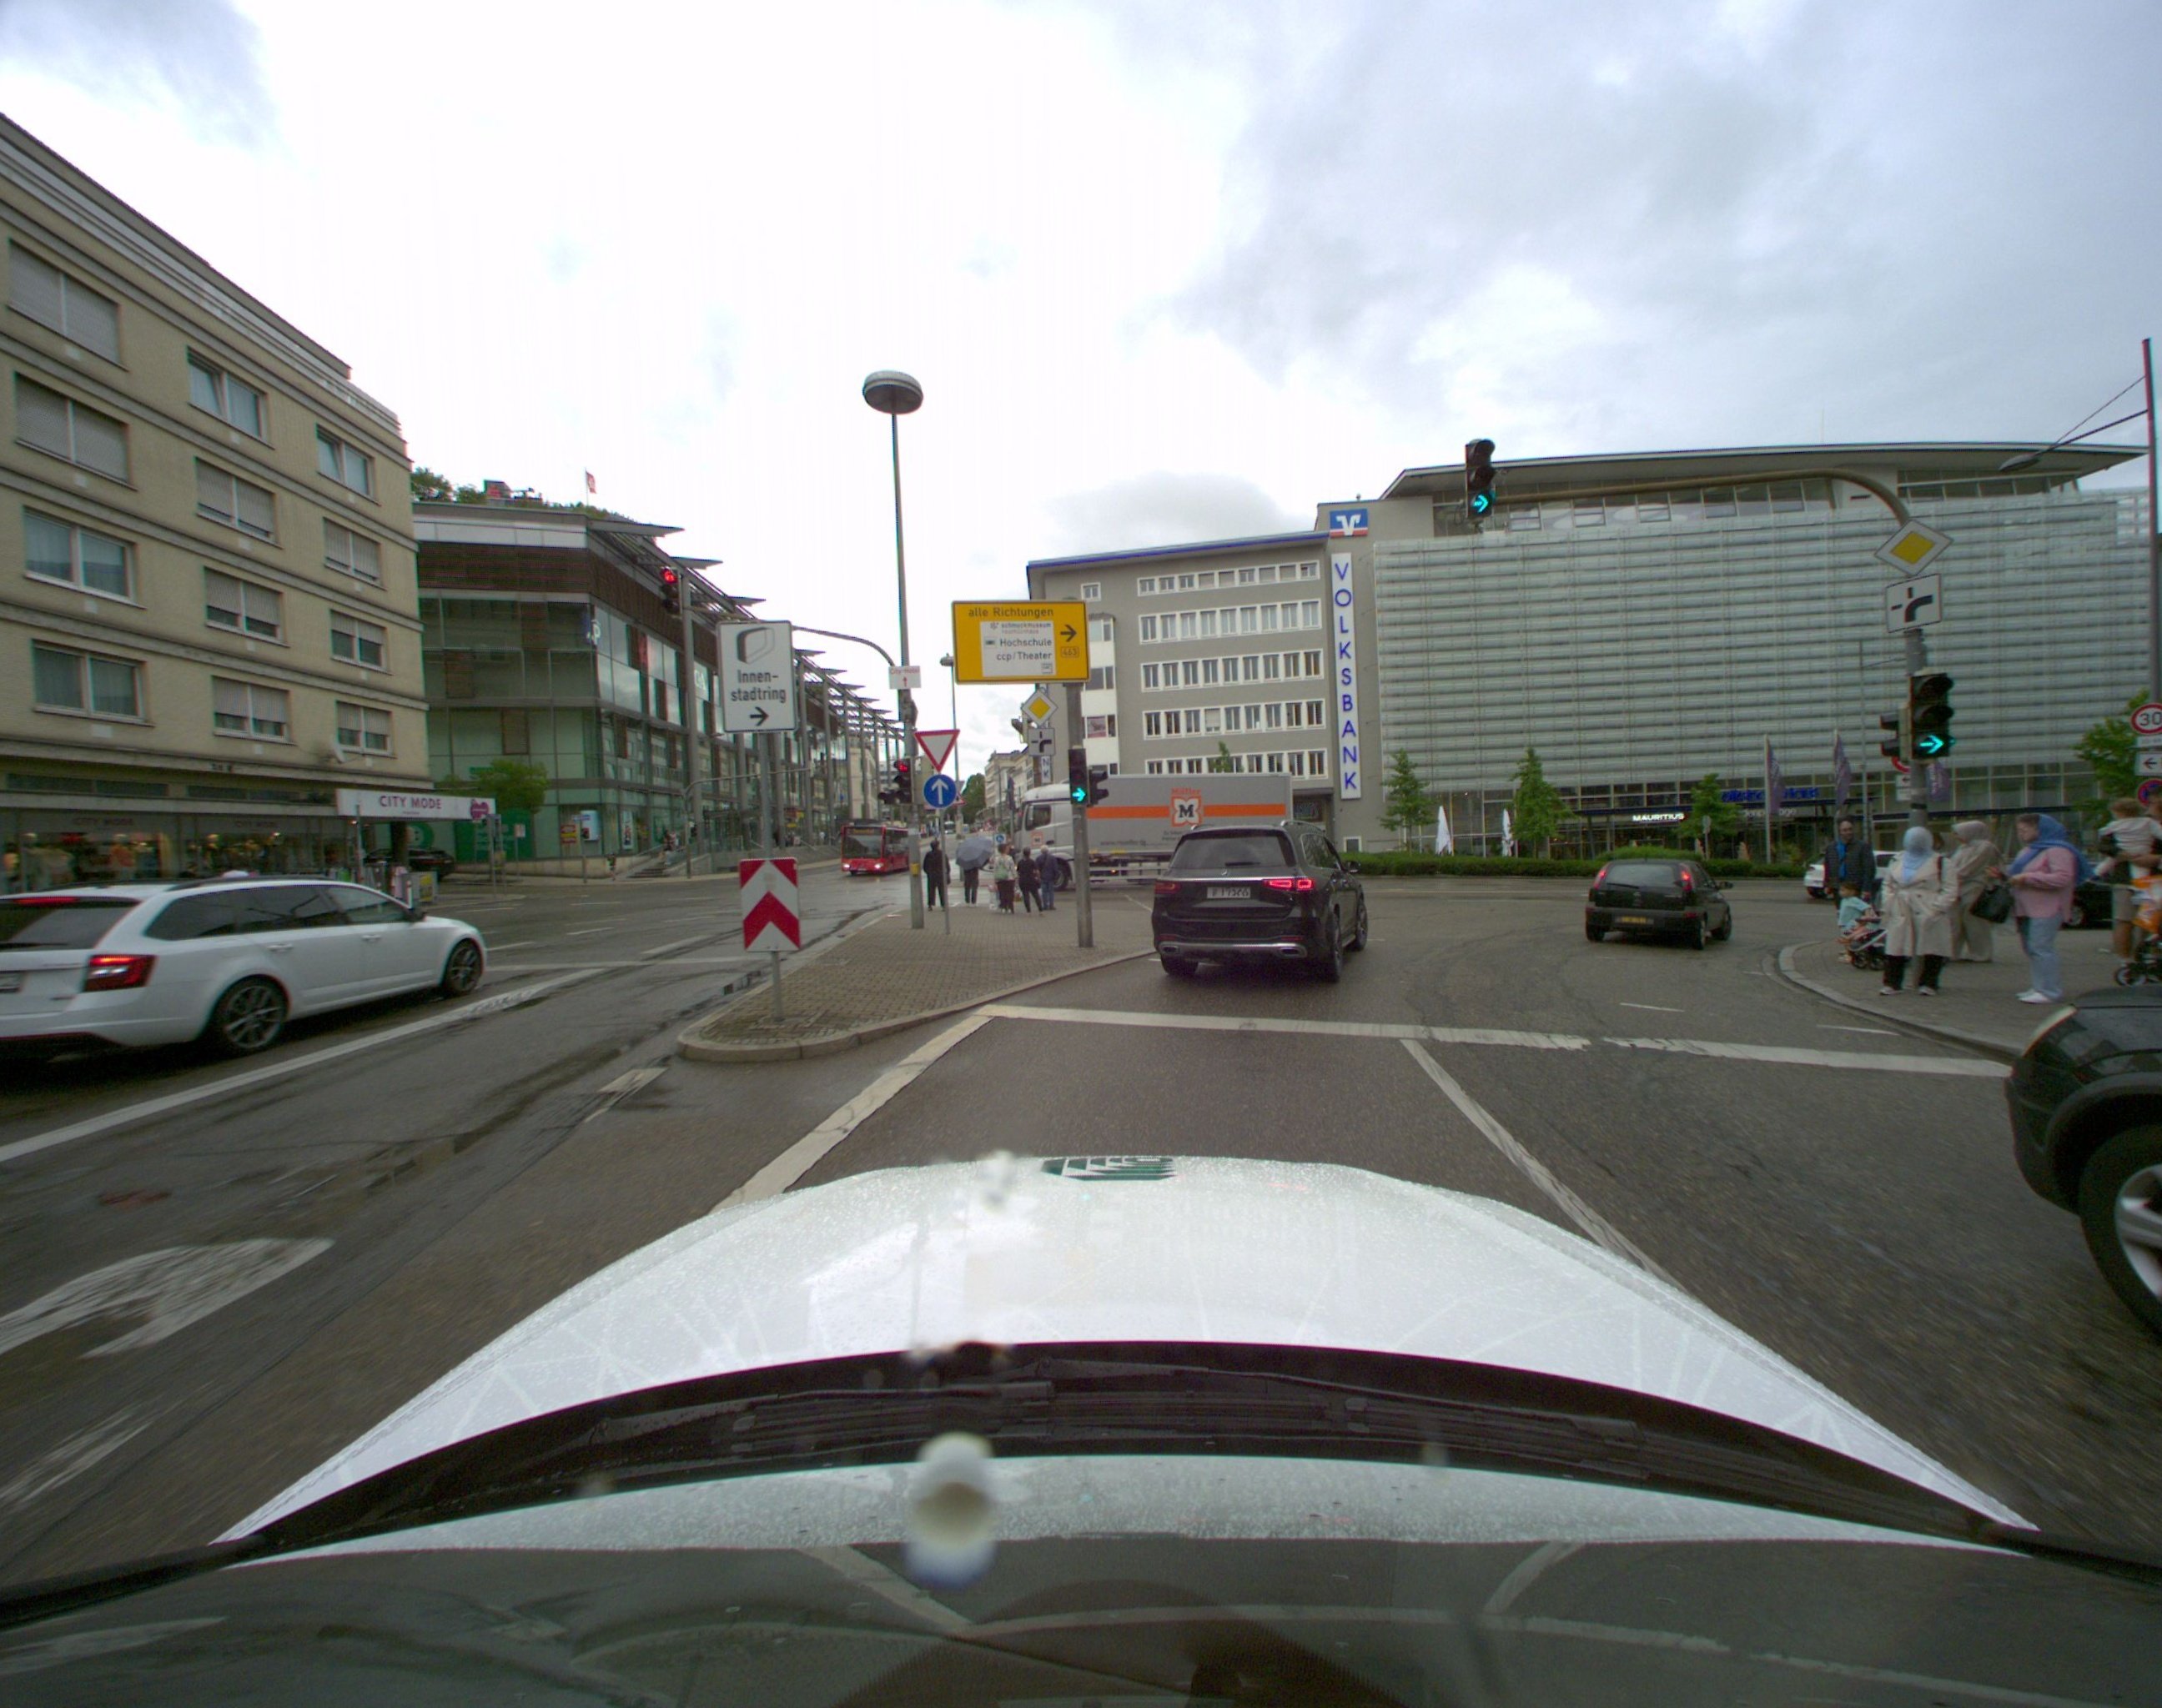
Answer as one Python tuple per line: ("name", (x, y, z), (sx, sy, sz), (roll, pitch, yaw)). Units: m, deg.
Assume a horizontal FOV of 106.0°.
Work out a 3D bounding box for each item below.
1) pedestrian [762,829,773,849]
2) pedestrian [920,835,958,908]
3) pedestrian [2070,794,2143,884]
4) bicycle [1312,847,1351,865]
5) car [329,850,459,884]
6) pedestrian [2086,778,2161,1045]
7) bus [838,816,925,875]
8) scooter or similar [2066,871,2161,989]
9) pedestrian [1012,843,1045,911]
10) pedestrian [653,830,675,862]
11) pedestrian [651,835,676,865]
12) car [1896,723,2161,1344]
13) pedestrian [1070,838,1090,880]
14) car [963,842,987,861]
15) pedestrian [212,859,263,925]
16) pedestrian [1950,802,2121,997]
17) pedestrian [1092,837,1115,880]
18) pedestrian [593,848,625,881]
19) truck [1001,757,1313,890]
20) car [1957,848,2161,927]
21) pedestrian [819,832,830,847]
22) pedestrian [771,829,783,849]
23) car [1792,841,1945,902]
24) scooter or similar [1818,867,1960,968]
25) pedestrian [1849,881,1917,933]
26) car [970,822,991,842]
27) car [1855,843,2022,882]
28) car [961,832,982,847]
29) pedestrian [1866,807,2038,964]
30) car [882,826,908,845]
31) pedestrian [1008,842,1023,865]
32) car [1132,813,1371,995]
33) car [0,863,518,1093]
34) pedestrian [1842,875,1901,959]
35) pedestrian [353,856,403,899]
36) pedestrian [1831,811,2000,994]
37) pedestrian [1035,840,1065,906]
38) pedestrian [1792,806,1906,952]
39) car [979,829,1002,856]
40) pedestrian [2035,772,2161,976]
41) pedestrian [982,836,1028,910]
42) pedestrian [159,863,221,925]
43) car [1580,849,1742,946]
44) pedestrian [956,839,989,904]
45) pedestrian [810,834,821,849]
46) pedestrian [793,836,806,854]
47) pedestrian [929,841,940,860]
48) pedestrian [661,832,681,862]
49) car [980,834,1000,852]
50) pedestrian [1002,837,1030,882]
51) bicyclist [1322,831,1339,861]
("pedestrian", (-27.293, -1.300, 70.927), (0.681, 1.713, 0.847), (-1, 0, -11))
("pedestrian", (-3.418, 0.416, 19.624), (0.781, 1.711, 0.706), (0, -1, -1))
("pedestrian", (9.970, -0.143, 7.928), (0.218, 0.847, 0.443), (0, 0, 16))
("bicycle", (14.922, 0.122, 48.490), (2.125, 0.993, 0.696), (-2, 0, 8))
("car", (-32.486, 0.577, 38.642), (4.291, 1.546, 1.796), (0, 1, -16))
("pedestrian", (7.202, 0.353, 5.219), (0.620, 1.692, 0.787), (-4, -2, 30))
("bus", (-13.234, -0.538, 56.045), (2.915, 3.320, 18.447), (-1, 0, -5))
("scooter or similar", (9.693, 0.657, 7.132), (0.769, 0.986, 1.046), (-3, -3, -6))
("pedestrian", (-1.156, 0.513, 18.095), (0.702, 1.488, 0.560), (0, -1, -1))
("pedestrian", (-26.932, -0.522, 52.609), (0.879, 1.980, 0.973), (-1, 0, -6))
("pedestrian", (-24.847, -0.247, 48.510), (1.039, 1.713, 1.004), (-1, 0, -11))
("car", (3.940, 0.541, 0.952), (1.898, 1.785, 4.308), (-1, 1, 4))
("pedestrian", (-0.043, 0.208, 33.083), (0.777, 1.689, 0.639), (0, 0, 3))
("car", (-8.788, -0.254, 67.906), (1.734, 1.527, 3.994), (0, 1, -4))
("pedestrian", (-21.685, 0.956, 20.928), (0.765, 1.628, 0.851), (-1, 0, 41))
("pedestrian", (8.493, 0.407, 7.291), (0.736, 1.635, 0.600), (-6, -4, 36))
("pedestrian", (0.952, 0.196, 34.331), (0.830, 1.778, 0.615), (0, 0, -11))
("pedestrian", (-24.870, 0.547, 42.935), (1.030, 1.713, 1.013), (-1, 0, 22))
("truck", (2.623, -1.071, 29.416), (10.708, 4.333, 2.854), (-1, 0, -2))
("car", (22.517, 0.693, 18.243), (3.982, 1.573, 1.953), (0, 2, -6))
("pedestrian", (-28.916, -1.662, 91.830), (0.938, 1.713, 0.988), (-1, 0, -11))
("pedestrian", (-26.541, -1.271, 71.153), (0.828, 1.713, 0.799), (-1, 0, -11))
("car", (23.147, 0.460, 23.952), (4.007, 1.573, 1.940), (-1, 2, -25))
("scooter or similar", (9.665, 0.753, 9.780), (0.963, 1.109, 0.657), (-4, -1, 13))
("pedestrian", (9.649, 0.629, 9.811), (0.368, 0.571, 0.460), (-4, 0, 14))
("car", (-17.293, -3.769, 140.687), (2.433, 3.465, 6.162), (0, 1, 5))
("car", (32.752, 0.295, 31.187), (4.611, 1.425, 1.997), (0, 0, -5))
("car", (-13.329, -1.711, 99.435), (2.419, 1.780, 5.144), (0, 1, -6))
("pedestrian", (10.251, 0.362, 9.637), (1.029, 1.722, 0.841), (-3, 0, 11))
("car", (-19.785, -1.940, 86.864), (2.241, 2.034, 5.341), (0, 1, -8))
("pedestrian", (-5.084, -0.020, 63.256), (1.022, 1.775, 0.797), (0, 0, -11))
("car", (2.511, 0.429, 10.726), (2.069, 1.816, 4.820), (0, 2, 24))
("car", (-7.734, 0.885, 7.796), (1.790, 1.415, 4.622), (-2, 1, -6))
("pedestrian", (9.976, 0.782, 10.285), (0.258, 0.999, 0.474), (-7, -1, 17))
("pedestrian", (-27.147, 0.902, 31.469), (0.869, 1.586, 1.153), (-2, 0, -2))
("pedestrian", (8.087, 0.467, 7.935), (0.538, 1.637, 0.836), (-5, -3, -6))
("pedestrian", (-0.759, 0.460, 19.993), (0.711, 1.568, 0.854), (0, -1, -1))
("pedestrian", (10.421, 0.348, 11.090), (0.612, 1.867, 0.789), (-5, -4, 10))
("car", (-10.015, -1.264, 89.760), (2.442, 2.957, 6.137), (0, 1, -7))
("pedestrian", (10.212, 0.180, 7.928), (0.833, 1.865, 0.658), (-5, -3, -1))
("pedestrian", (-1.751, 0.420, 18.930), (0.975, 1.672, 0.915), (0, 0, 0))
("pedestrian", (-22.790, 1.008, 20.836), (0.784, 1.536, 0.680), (-1, 0, -8))
("car", (10.152, 0.690, 14.147), (1.701, 1.420, 3.792), (1, 0, 45))
("pedestrian", (-2.852, 0.453, 21.464), (0.754, 1.692, 0.693), (0, -1, -1))
("pedestrian", (-29.881, -1.424, 91.637), (1.039, 1.713, 1.004), (-1, 0, -11))
("pedestrian", (-27.801, -0.865, 80.433), (1.039, 1.713, 1.004), (-1, 0, -11))
("pedestrian", (-14.643, -0.401, 81.382), (0.951, 1.886, 0.810), (0, 1, 1))
("pedestrian", (-26.991, -0.463, 53.569), (0.874, 1.980, 0.848), (-1, 0, -6))
("car", (-9.323, -1.093, 83.250), (1.859, 1.826, 4.093), (0, 1, -8))
("pedestrian", (-2.664, 0.208, 33.280), (1.010, 1.787, 0.850), (0, 0, -12))
("bicyclist", (14.858, -0.471, 48.483), (0.839, 1.704, 0.624), (-2, 0, 8))
